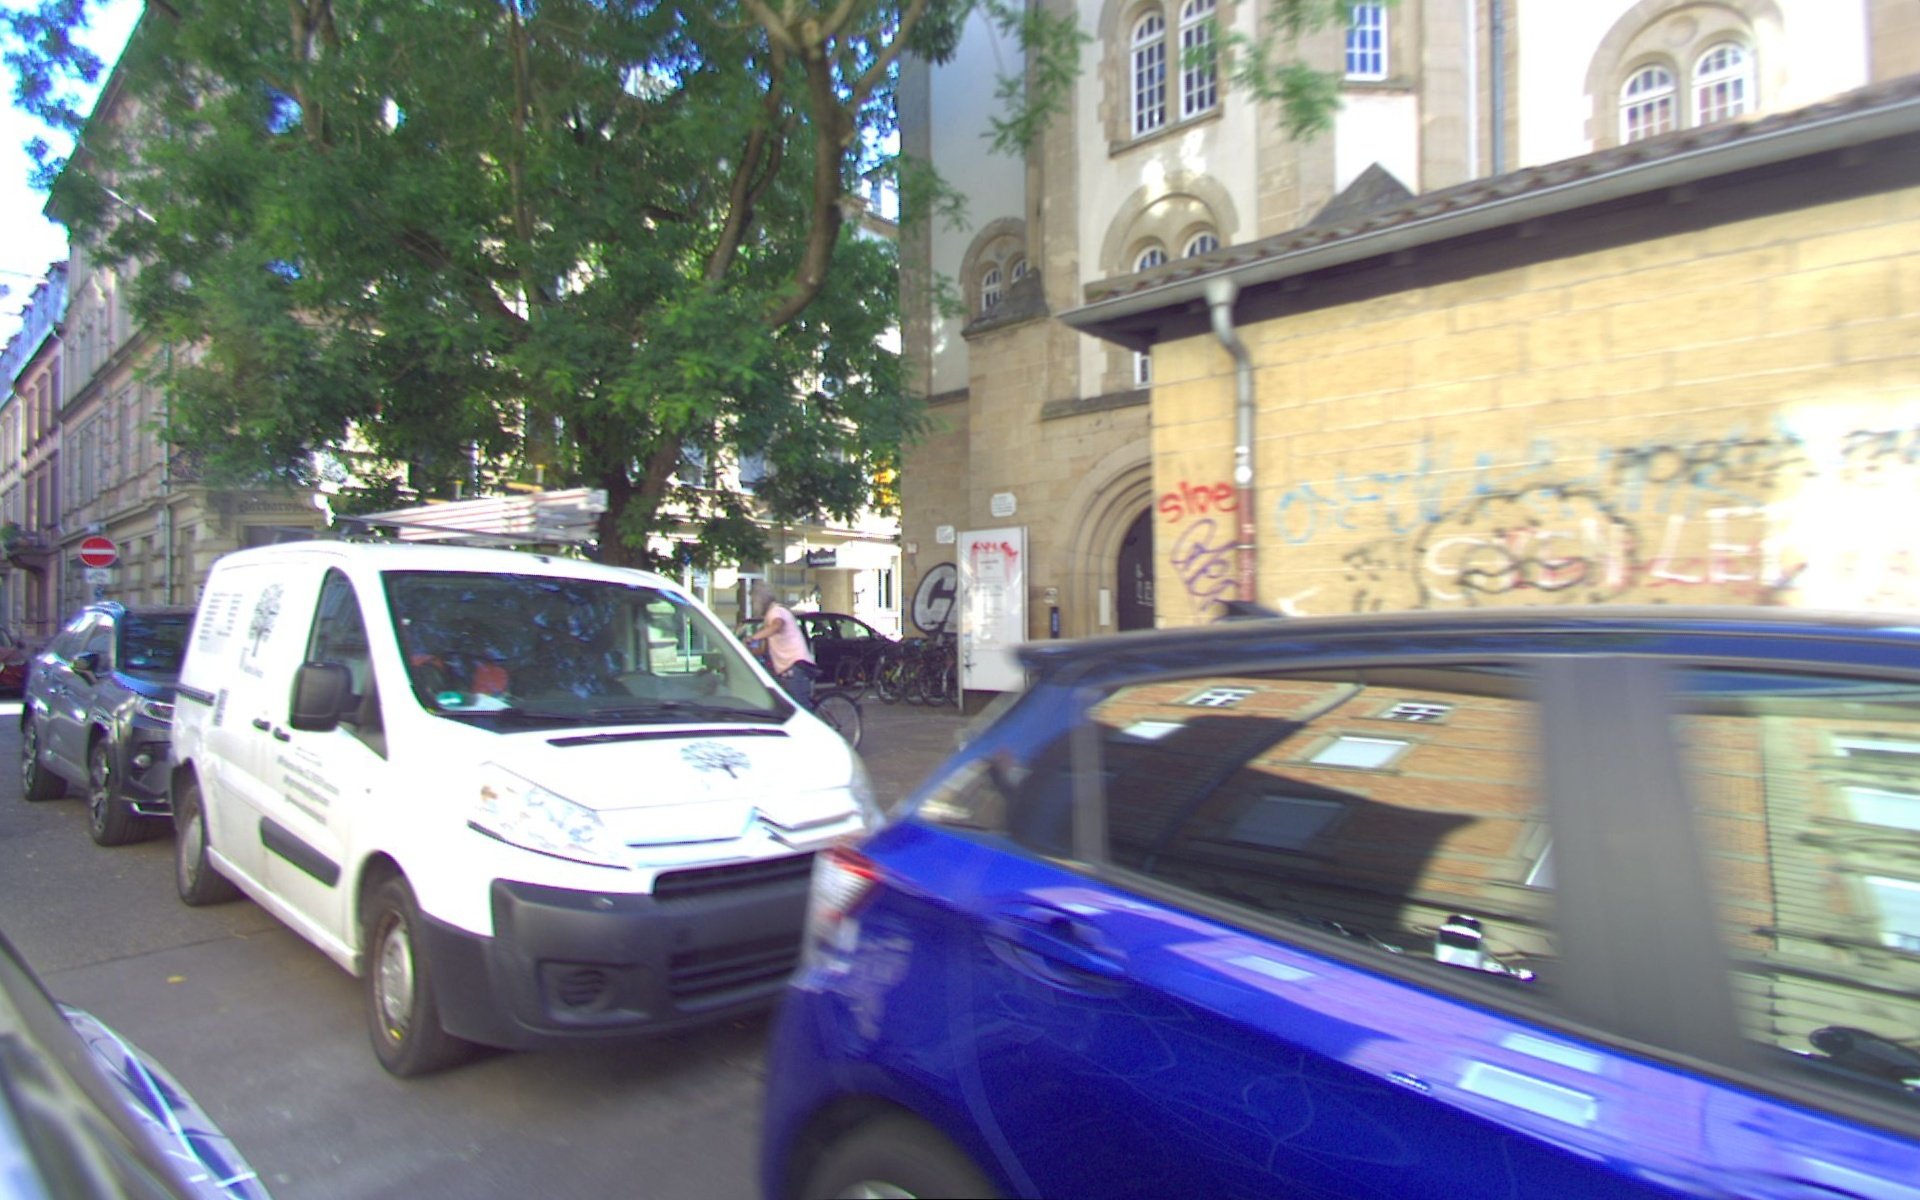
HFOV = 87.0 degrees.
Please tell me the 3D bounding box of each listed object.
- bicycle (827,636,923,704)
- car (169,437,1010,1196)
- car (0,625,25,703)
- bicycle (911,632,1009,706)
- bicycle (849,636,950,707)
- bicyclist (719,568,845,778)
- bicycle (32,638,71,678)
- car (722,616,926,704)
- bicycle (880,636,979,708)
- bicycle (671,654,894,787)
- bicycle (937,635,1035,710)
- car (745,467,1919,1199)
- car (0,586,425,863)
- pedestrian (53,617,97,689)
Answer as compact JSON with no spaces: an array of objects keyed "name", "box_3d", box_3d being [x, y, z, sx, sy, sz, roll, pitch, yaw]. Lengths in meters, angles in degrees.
[{"name":"bicycle","box_3d":[-1.404,1.150,16.993,0.533,1.062,1.757,-3,-3,40]},{"name":"car","box_3d":[-2.066,0.612,4.713,4.464,1.876,1.825,-2,-3,43]},{"name":"car","box_3d":[-20.384,1.290,20.528,4.088,1.492,1.704,-2,-1,42]},{"name":"bicycle","box_3d":[0.018,1.034,15.551,0.478,1.062,1.757,-3,-3,40]},{"name":"bicycle","box_3d":[-0.929,1.107,16.033,0.533,1.062,1.757,-3,-3,40]},{"name":"bicyclist","box_3d":[-1.569,0.605,8.948,0.795,1.736,0.693,-3,1,-40]},{"name":"bicycle","box_3d":[-27.621,1.758,30.765,1.784,1.134,0.660,-2,0,42]},{"name":"car","box_3d":[-2.682,1.169,20.634,1.769,1.610,3.946,-4,-3,40]},{"name":"bicycle","box_3d":[-0.450,1.092,15.740,0.478,1.062,1.757,-3,-3,40]},{"name":"bicycle","box_3d":[-1.547,1.010,8.957,1.739,0.930,0.828,-3,0,-41]},{"name":"bicycle","box_3d":[0.419,1.059,15.213,0.478,1.062,1.757,-3,-3,40]},{"name":"car","box_3d":[1.606,0.664,1.227,3.858,1.488,1.670,-2,-4,41]},{"name":"car","box_3d":[-6.124,0.813,8.106,4.284,1.659,1.723,-2,-2,39]},{"name":"pedestrian","box_3d":[-20.206,1.198,23.104,0.759,1.592,0.660,-2,-1,40]}]
